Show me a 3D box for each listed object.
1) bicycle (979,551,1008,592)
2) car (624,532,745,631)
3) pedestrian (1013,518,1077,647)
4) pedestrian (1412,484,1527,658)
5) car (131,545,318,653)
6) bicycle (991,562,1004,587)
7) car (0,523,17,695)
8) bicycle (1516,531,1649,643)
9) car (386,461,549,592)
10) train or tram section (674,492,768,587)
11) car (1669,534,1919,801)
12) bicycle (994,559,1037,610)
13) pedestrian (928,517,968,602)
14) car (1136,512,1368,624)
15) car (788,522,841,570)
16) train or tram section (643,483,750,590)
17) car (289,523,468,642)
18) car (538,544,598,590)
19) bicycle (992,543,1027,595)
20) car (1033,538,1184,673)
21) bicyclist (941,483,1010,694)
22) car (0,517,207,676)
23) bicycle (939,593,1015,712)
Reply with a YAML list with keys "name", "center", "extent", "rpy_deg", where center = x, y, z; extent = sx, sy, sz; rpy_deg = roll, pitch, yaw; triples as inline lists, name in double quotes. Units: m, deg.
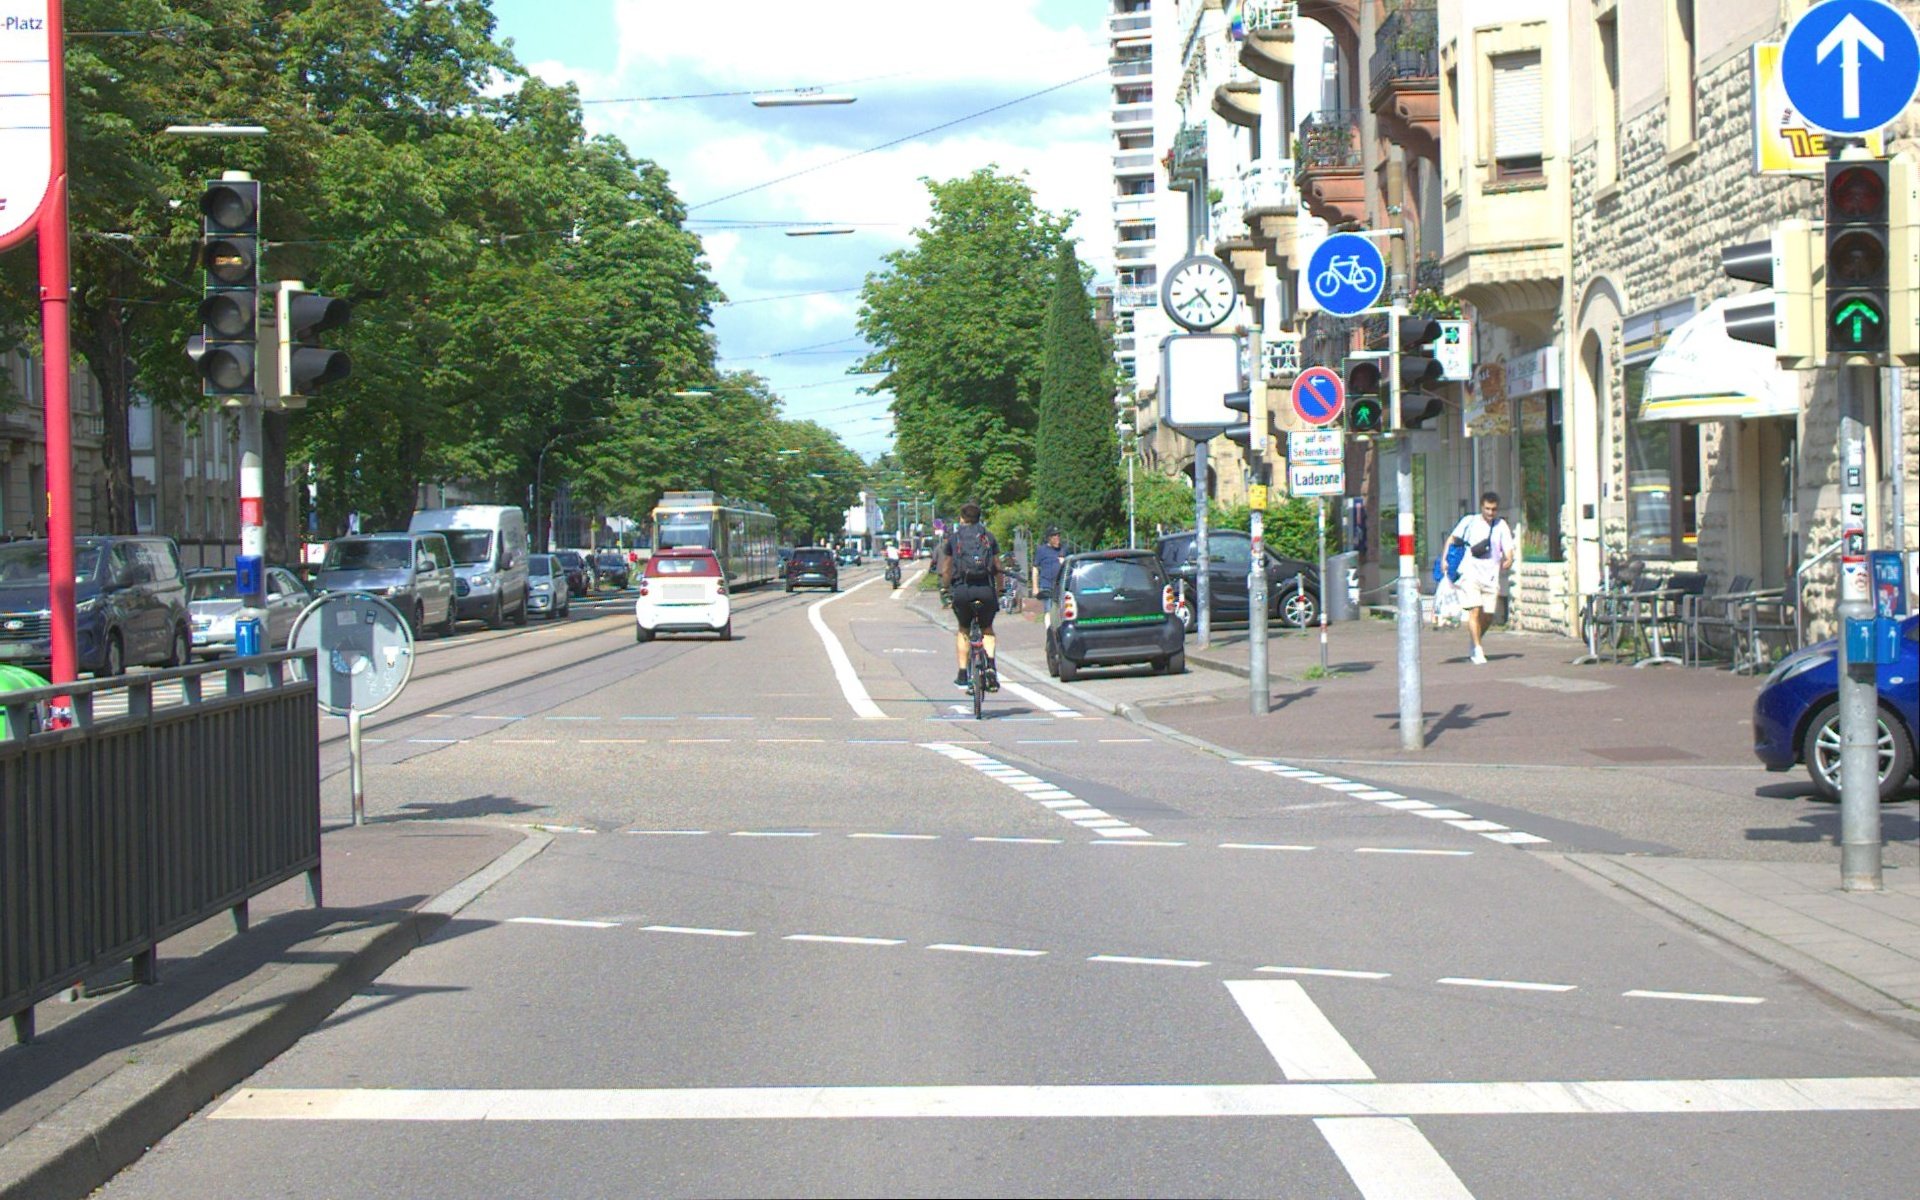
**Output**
- name: "bicycle"
  center: [0.842, -0.711, 86.422]
  extent: [0.610, 0.992, 2.362]
  rpy_deg: [-4, 0, -1]
- name: "car"
  center: [-4.664, -0.323, 58.554]
  extent: [1.665, 1.619, 3.620]
  rpy_deg: [1, 0, 2]
- name: "pedestrian"
  center: [1.251, -0.261, 50.673]
  extent: [0.659, 1.835, 0.873]
  rpy_deg: [-5, 1, -8]
- name: "pedestrian"
  center: [5.354, -0.310, 36.186]
  extent: [1.010, 1.762, 0.850]
  rpy_deg: [-3, 2, 1]
- name: "car"
  center: [-11.202, -0.052, 52.650]
  extent: [1.693, 1.475, 4.482]
  rpy_deg: [-2, 1, 2]
- name: "bicycle"
  center: [1.048, -0.705, 95.737]
  extent: [0.279, 0.675, 1.559]
  rpy_deg: [-4, 0, 0]
- name: "car"
  center: [-12.101, 0.108, 37.673]
  extent: [1.993, 1.988, 5.088]
  rpy_deg: [1, 0, 2]
- name: "bicycle"
  center: [6.789, -0.147, 37.648]
  extent: [0.804, 1.173, 2.752]
  rpy_deg: [1, 0, -3]
- name: "car"
  center: [-9.973, -1.517, 70.123]
  extent: [2.316, 2.499, 6.364]
  rpy_deg: [-1, 2, 0]
- name: "train or tram section"
  center: [-9.152, -2.294, 132.766]
  extent: [2.653, 3.377, 11.473]
  rpy_deg: [-3, 0, 0]
- name: "car"
  center: [6.144, 0.336, 18.808]
  extent: [3.995, 1.414, 1.888]
  rpy_deg: [-1, 1, 35]
- name: "bicycle"
  center: [1.121, -0.322, 70.237]
  extent: [0.599, 0.957, 3.067]
  rpy_deg: [-5, 1, -3]
- name: "pedestrian"
  center: [-0.268, -0.893, 75.686]
  extent: [0.787, 1.855, 0.580]
  rpy_deg: [-1, -1, -7]
- name: "car"
  center: [4.471, -0.498, 52.986]
  extent: [3.401, 1.518, 1.972]
  rpy_deg: [-3, 1, 2]
- name: "car"
  center: [-5.022, -1.875, 118.685]
  extent: [1.665, 1.619, 3.621]
  rpy_deg: [-1, 1, 0]
- name: "train or tram section"
  center: [-9.166, -2.170, 120.931]
  extent: [2.653, 3.425, 12.315]
  rpy_deg: [-3, 0, 0]
- name: "car"
  center: [-10.512, -0.272, 62.517]
  extent: [1.986, 1.956, 5.178]
  rpy_deg: [-1, -2, 4]
- name: "car"
  center: [-14.561, -1.237, 127.835]
  extent: [1.750, 1.660, 4.721]
  rpy_deg: [1, 0, -1]
- name: "bicycle"
  center: [1.193, -0.740, 82.951]
  extent: [0.740, 1.227, 2.516]
  rpy_deg: [-1, 0, -1]
- name: "car"
  center: [1.787, 0.039, 42.059]
  extent: [1.513, 1.493, 2.794]
  rpy_deg: [-4, 1, -2]
- name: "bicyclist"
  center: [0.140, -0.112, 32.349]
  extent: [0.607, 1.941, 1.130]
  rpy_deg: [1, 0, 0]
- name: "car"
  center: [-11.425, -0.060, 45.010]
  extent: [1.927, 1.910, 5.124]
  rpy_deg: [-2, 1, 0]
- name: "bicycle"
  center: [0.147, 0.487, 32.362]
  extent: [0.616, 1.041, 1.836]
  rpy_deg: [-5, 0, 0]
